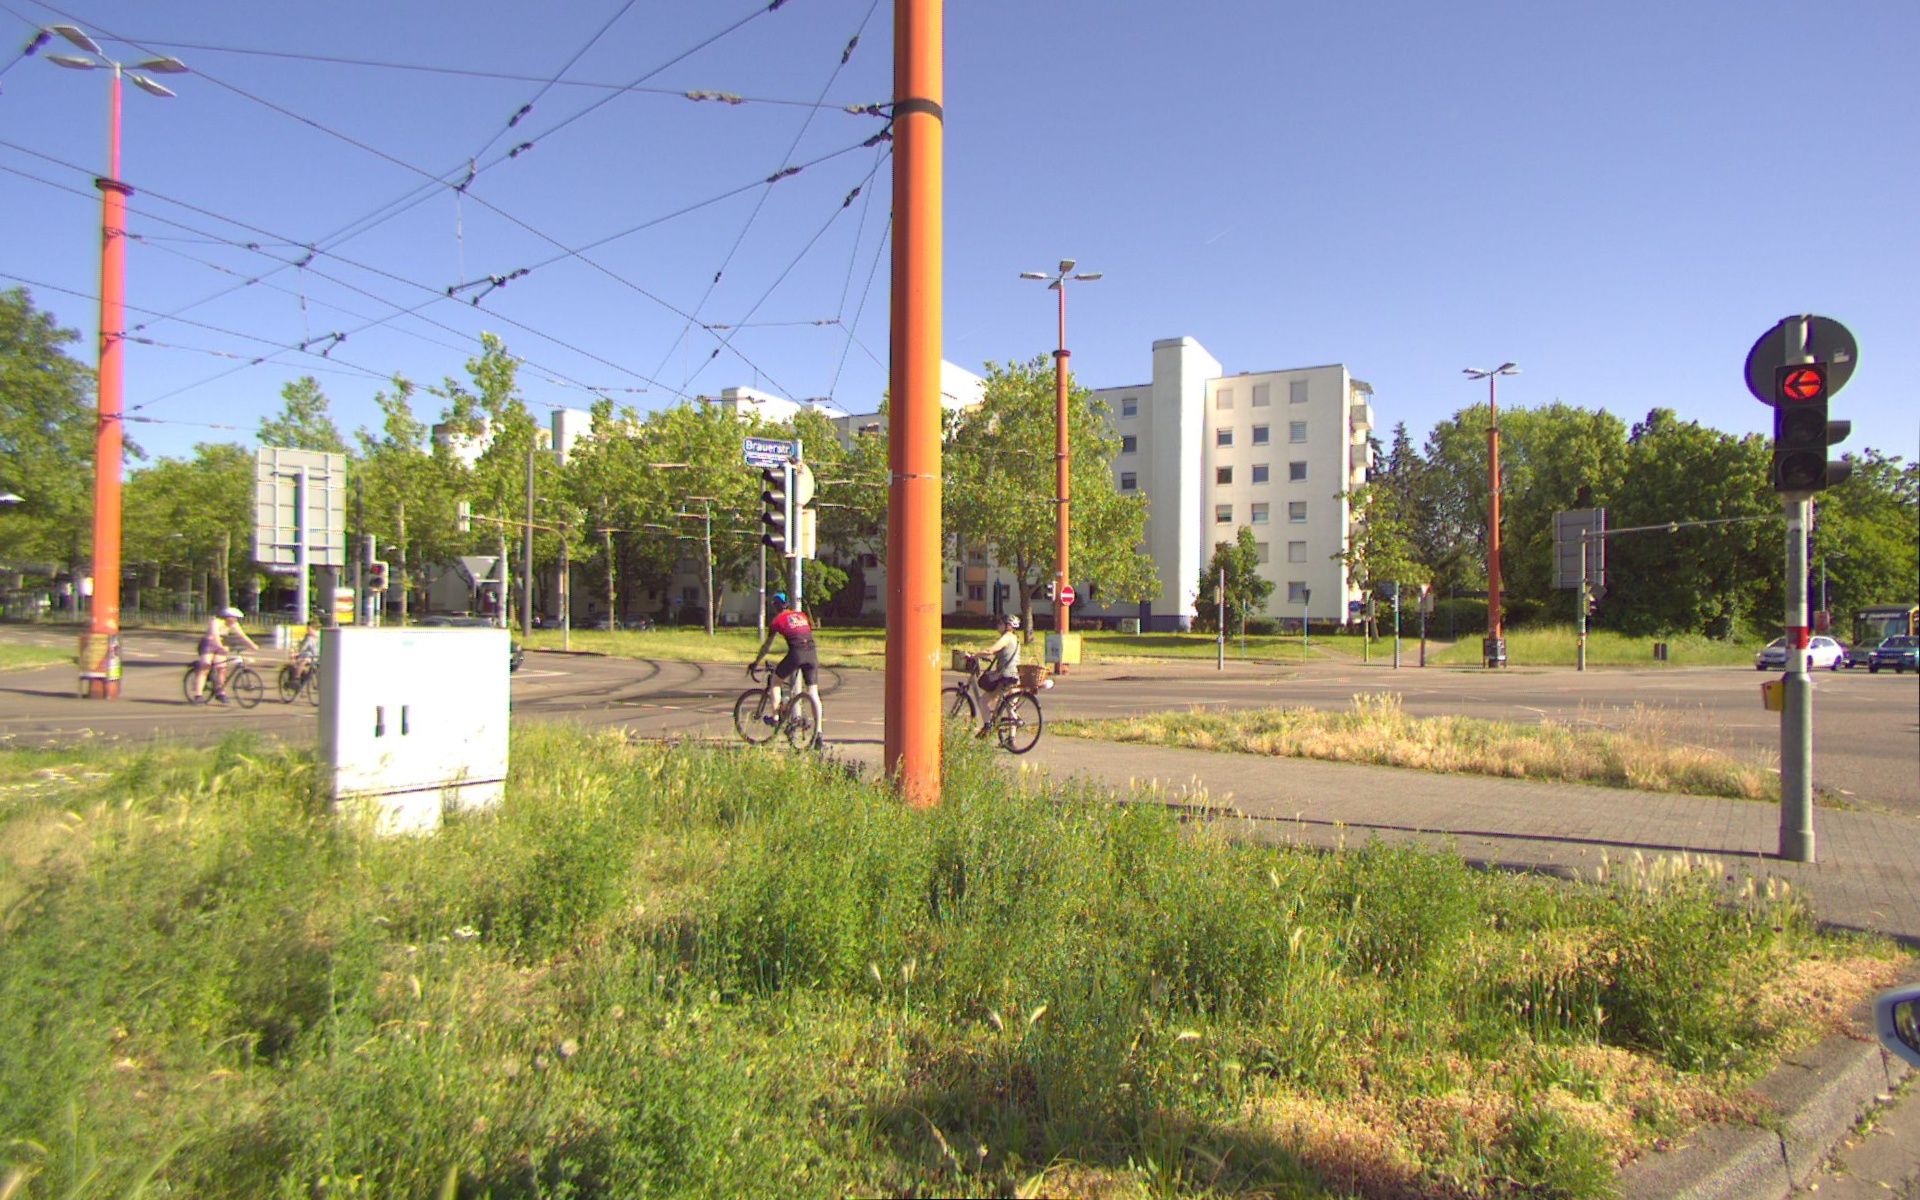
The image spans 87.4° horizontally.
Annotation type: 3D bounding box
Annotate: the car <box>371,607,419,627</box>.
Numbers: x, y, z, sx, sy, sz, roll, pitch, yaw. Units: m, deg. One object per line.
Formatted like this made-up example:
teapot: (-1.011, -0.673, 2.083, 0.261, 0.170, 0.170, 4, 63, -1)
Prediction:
car: (-45.232, 1.380, 80.385, 3.884, 1.522, 1.833, -1, -3, 35)

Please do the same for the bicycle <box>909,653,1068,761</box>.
bicycle: (0.317, 1.249, 12.187, 1.887, 1.146, 0.737, 0, -1, 41)

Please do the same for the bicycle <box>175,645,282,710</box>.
bicycle: (-13.639, 1.435, 18.735, 1.877, 1.086, 0.580, 2, 0, 17)

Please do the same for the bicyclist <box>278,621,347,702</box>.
bicyclist: (-12.894, 1.198, 20.006, 0.906, 1.545, 0.720, 2, 0, 20)

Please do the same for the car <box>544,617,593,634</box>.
car: (-29.326, 1.882, 75.342, 3.219, 1.172, 1.357, 2, 0, -12)

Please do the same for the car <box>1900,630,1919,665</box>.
car: (49.099, 2.398, 50.426, 3.930, 1.673, 1.769, 3, -4, -32)

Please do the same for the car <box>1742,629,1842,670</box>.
car: (35.369, 2.109, 42.686, 4.168, 1.673, 1.869, 2, -3, -29)

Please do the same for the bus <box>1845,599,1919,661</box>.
bus: (55.318, 1.764, 57.793, 12.384, 3.304, 2.634, 2, 0, -29)

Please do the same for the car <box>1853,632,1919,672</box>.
car: (37.299, 2.038, 39.765, 3.813, 1.535, 1.793, 1, -3, -30)

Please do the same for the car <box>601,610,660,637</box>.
car: (-23.665, 1.695, 72.298, 3.874, 1.841, 1.651, 2, 0, -13)

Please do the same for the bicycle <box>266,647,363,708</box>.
bicycle: (-12.855, 1.532, 19.998, 1.878, 1.086, 0.580, 2, 0, 19)

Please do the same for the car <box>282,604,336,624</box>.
car: (-66.298, 1.455, 102.360, 4.274, 2.010, 1.932, 1, -1, -19)

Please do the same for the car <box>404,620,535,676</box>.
car: (-15.219, 1.437, 31.099, 3.977, 1.516, 1.913, 2, 0, 34)

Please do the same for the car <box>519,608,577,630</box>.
car: (-32.546, 1.499, 79.434, 3.868, 1.614, 1.656, 2, 0, -8)

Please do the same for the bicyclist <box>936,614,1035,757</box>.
bicyclist: (0.317, 0.999, 12.228, 0.815, 1.643, 0.888, 0, -1, 41)

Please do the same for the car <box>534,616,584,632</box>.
car: (-30.894, 1.849, 77.439, 3.346, 1.162, 1.305, 2, 0, -13)

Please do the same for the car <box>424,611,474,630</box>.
car: (-43.257, 1.754, 85.102, 3.592, 1.480, 1.608, 2, 0, -19)

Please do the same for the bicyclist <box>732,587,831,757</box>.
bicyclist: (-2.142, 0.843, 12.053, 0.974, 1.938, 0.685, -1, -2, 33)

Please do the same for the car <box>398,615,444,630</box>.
car: (-46.624, 1.917, 86.956, 3.370, 1.204, 1.439, 2, 0, -23)

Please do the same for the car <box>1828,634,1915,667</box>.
car: (43.139, 2.373, 47.531, 3.952, 1.533, 1.877, 1, -2, -29)

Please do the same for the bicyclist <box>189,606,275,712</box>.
bicyclist: (-13.596, 1.079, 18.777, 0.905, 1.892, 0.893, 2, 0, 17)

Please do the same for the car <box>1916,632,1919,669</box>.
car: (42.610, 2.167, 42.715, 3.955, 1.575, 1.891, 2, -2, -32)

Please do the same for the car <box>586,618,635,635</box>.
car: (-25.829, 1.988, 74.315, 3.279, 1.149, 1.321, 2, 0, -11)

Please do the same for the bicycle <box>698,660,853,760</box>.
bicycle: (-2.240, 1.287, 12.114, 1.883, 1.085, 0.690, -2, -2, 33)

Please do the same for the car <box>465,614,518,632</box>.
car: (-38.838, 1.910, 83.390, 3.665, 1.349, 1.496, 2, 0, -8)
